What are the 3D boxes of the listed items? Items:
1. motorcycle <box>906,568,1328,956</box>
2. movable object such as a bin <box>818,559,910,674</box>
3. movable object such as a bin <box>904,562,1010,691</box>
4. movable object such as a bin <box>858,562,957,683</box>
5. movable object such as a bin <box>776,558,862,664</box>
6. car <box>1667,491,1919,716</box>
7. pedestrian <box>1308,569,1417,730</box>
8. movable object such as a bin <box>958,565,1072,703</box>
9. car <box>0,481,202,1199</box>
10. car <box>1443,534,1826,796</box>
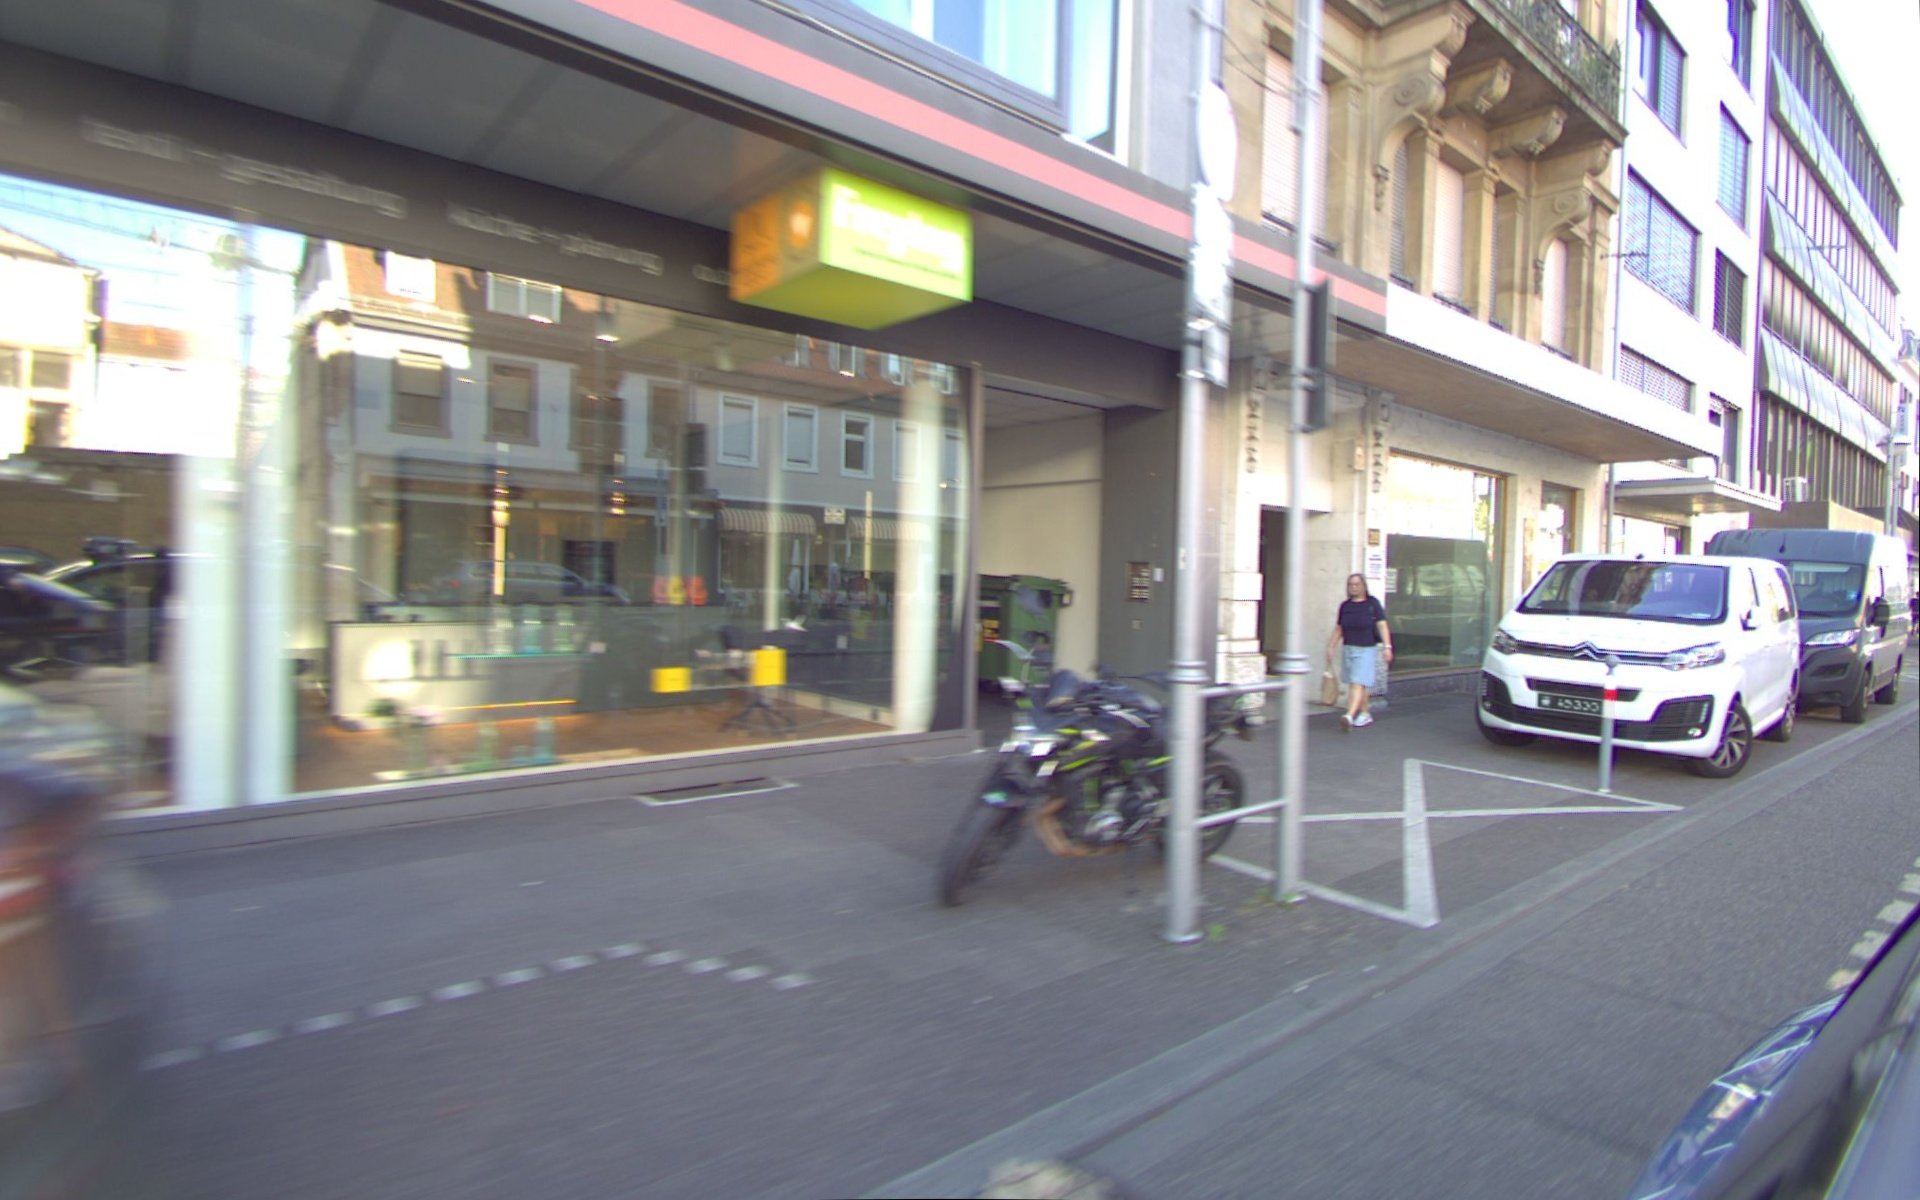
[{"bbox_3d":[0.850,0.594,4.821,2.282,1.449,0.660,-1,3,-42],"label":"motorcycle"},{"bbox_3d":[-1.226,0.190,12.879,0.787,1.377,0.881,0,2,-41],"label":"movable object such as a bin"},{"bbox_3d":[-0.041,0.272,11.475,0.787,1.377,0.881,0,2,-41],"label":"movable object such as a bin"},{"bbox_3d":[-0.634,0.247,12.188,0.787,1.377,0.881,0,2,-41],"label":"movable object such as a bin"},{"bbox_3d":[-1.923,0.130,13.771,0.787,1.377,0.881,0,2,-41],"label":"movable object such as a bin"},{"bbox_3d":[11.796,0.091,14.029,5.587,2.533,2.049,2,-1,-42],"label":"car"},{"bbox_3d":[4.056,0.462,10.194,0.800,1.526,0.697,0,2,-41],"label":"pedestrian"},{"bbox_3d":[0.583,0.330,10.790,0.787,1.377,0.881,0,2,-41],"label":"movable object such as a bin"},{"bbox_3d":[-3.246,0.606,0.727,4.214,1.596,1.767,-1,4,-42],"label":"car"},{"bbox_3d":[6.742,0.403,9.867,4.798,1.933,2.049,-1,3,-44],"label":"car"}]
